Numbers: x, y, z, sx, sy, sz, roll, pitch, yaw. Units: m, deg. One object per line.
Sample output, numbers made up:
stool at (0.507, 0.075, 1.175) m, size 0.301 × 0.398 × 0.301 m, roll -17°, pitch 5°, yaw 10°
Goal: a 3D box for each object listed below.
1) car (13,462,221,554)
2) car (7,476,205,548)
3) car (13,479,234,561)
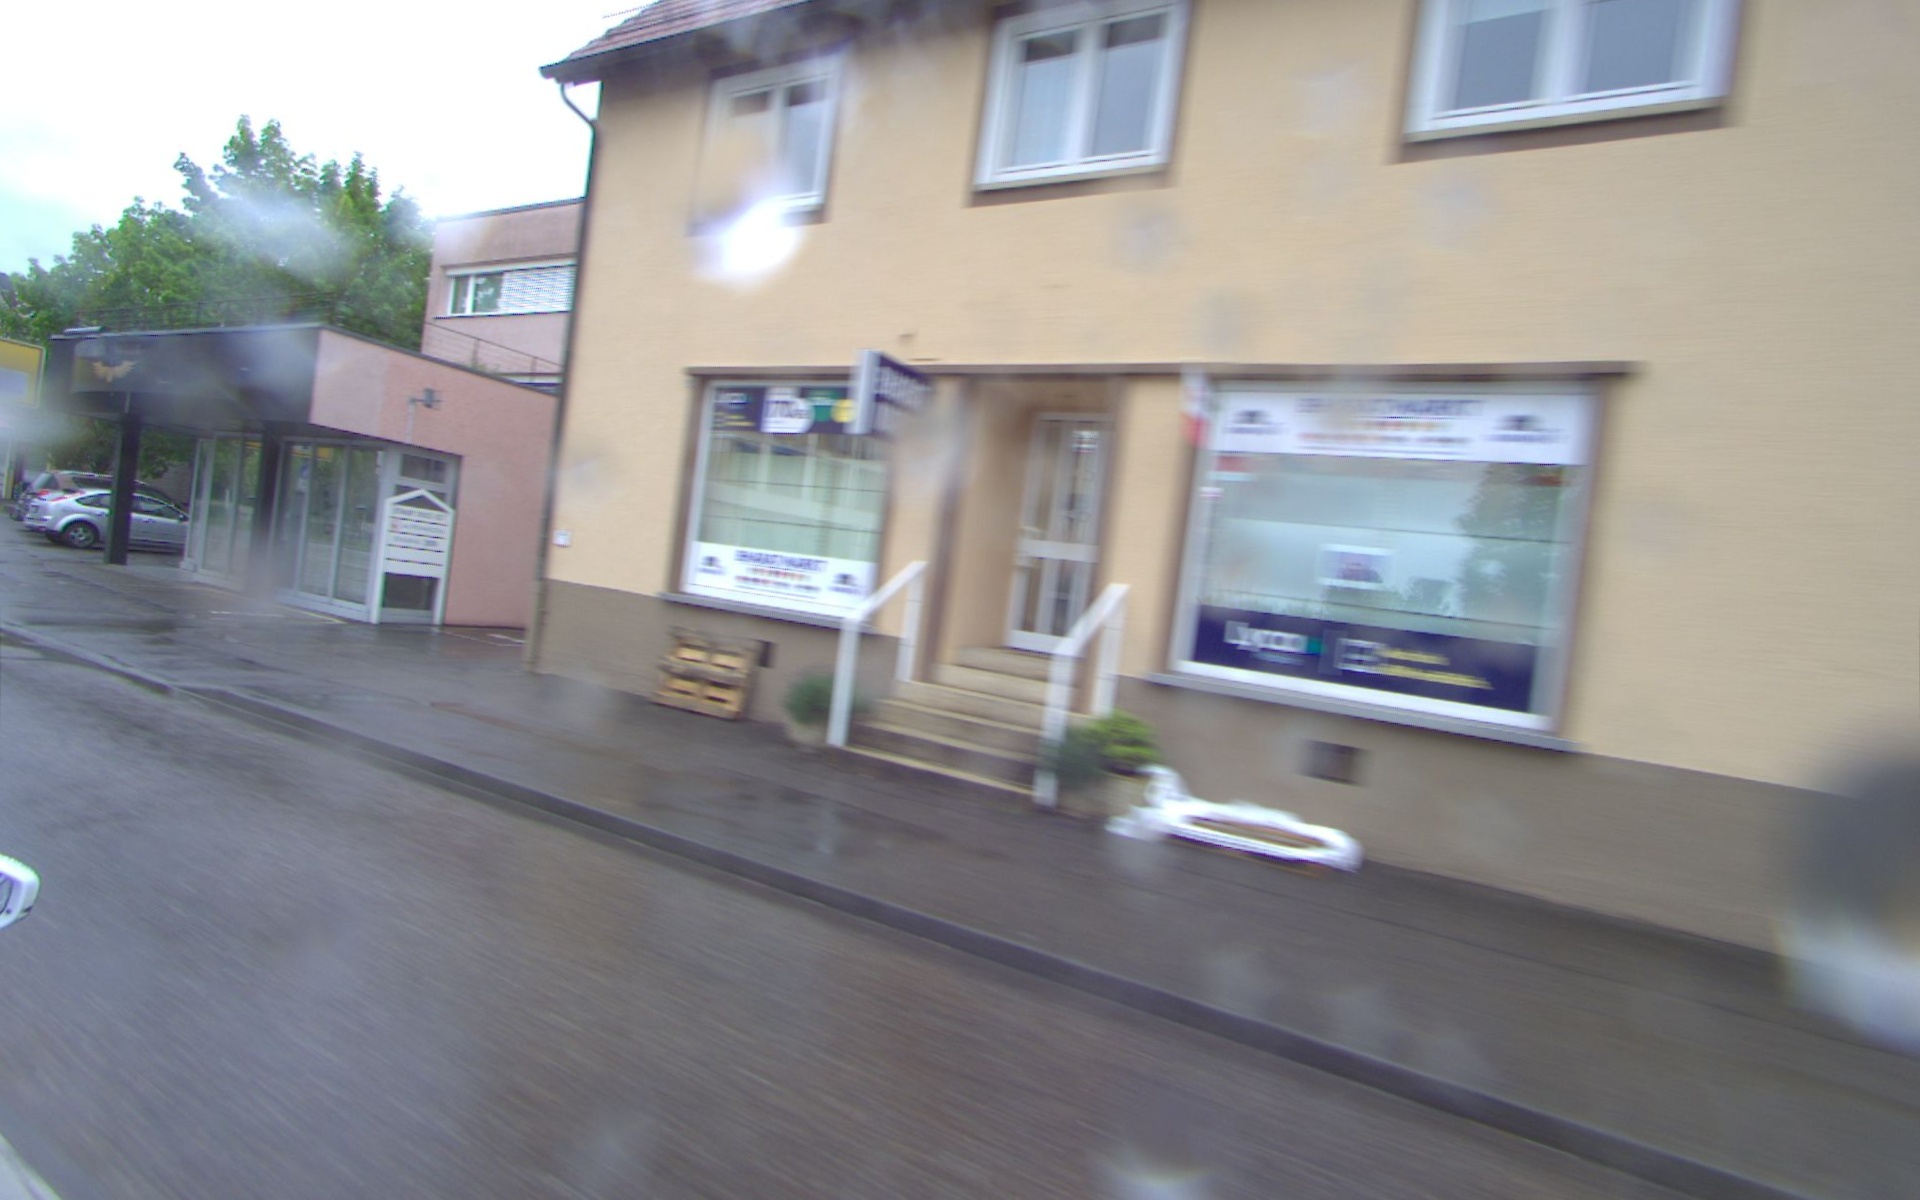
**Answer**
car at (-23.651, -2.541, 28.355) m, size 1.847 × 1.894 × 4.093 m, roll 8°, pitch 1°, yaw 36°
car at (-25.507, -2.597, 30.188) m, size 1.773 × 1.472 × 4.150 m, roll 7°, pitch 0°, yaw 34°
car at (-21.279, -1.999, 25.732) m, size 1.719 × 1.465 × 3.986 m, roll 8°, pitch 1°, yaw 36°
